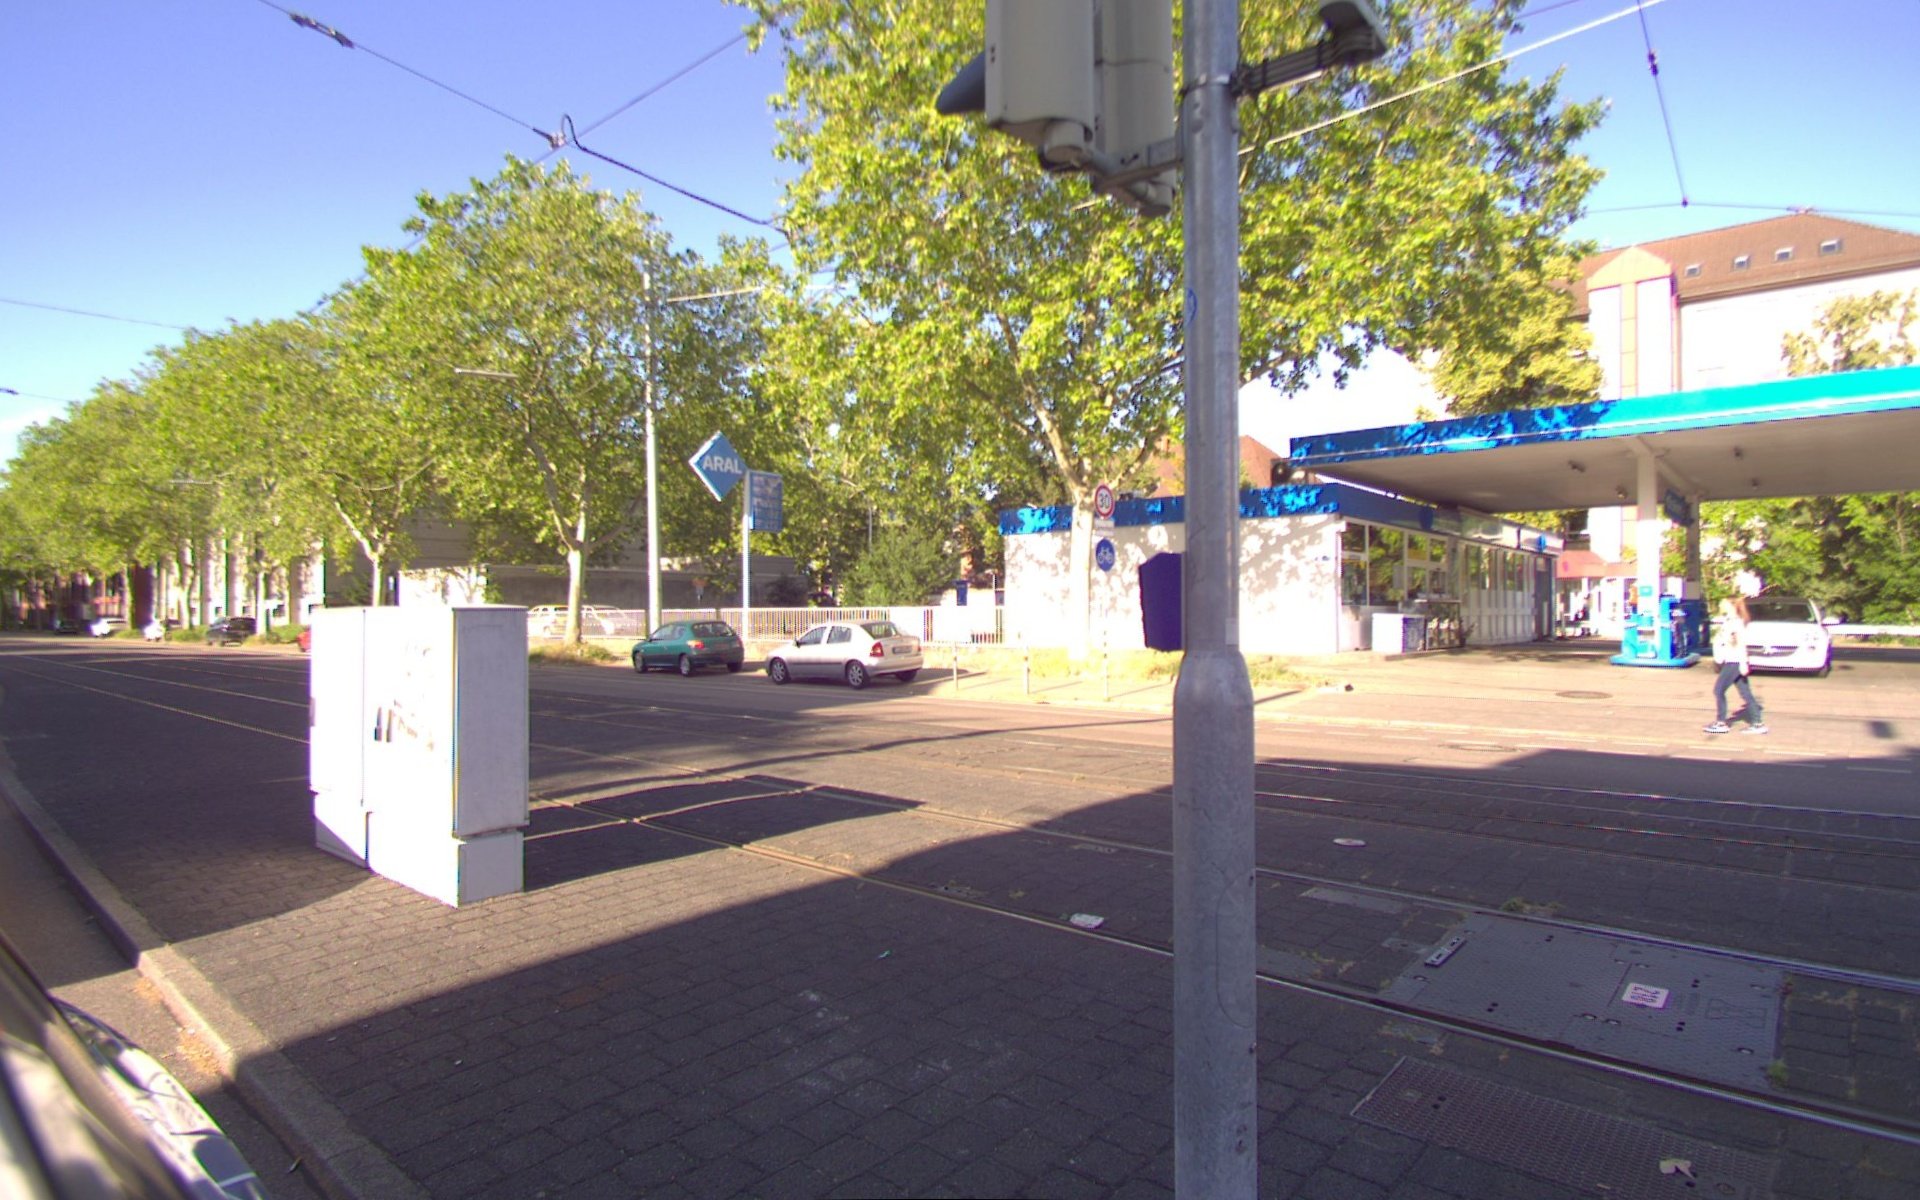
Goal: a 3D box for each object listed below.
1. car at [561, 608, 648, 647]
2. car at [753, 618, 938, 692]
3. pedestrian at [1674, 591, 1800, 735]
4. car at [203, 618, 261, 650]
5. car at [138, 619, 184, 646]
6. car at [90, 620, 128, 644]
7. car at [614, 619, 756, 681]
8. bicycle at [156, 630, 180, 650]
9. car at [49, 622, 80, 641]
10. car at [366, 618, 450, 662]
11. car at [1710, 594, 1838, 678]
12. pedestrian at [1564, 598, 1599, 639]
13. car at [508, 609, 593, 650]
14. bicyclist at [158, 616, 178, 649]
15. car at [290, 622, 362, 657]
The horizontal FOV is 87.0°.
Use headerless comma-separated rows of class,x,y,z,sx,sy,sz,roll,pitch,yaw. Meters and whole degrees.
car,-15.388,1.172,43.763,3.999,1.545,1.822,-1,1,42
car,-2.616,1.178,22.636,3.997,1.418,1.823,-1,1,40
pedestrian,9.297,0.730,12.117,1.106,1.631,0.705,-1,-2,44
car,-40.651,1.887,56.471,4.098,1.628,1.821,-1,1,44
car,-53.835,2.162,68.194,4.098,1.686,1.821,-1,1,44
car,-66.940,2.491,79.566,4.098,1.686,1.821,-1,1,44
car,-7.423,1.276,27.126,4.138,1.418,1.820,-1,1,45
bicycle,-46.135,2.312,58.948,2.532,1.129,0.645,-1,-1,41
car,-85.037,2.950,96.088,4.098,1.686,1.821,-1,1,44
car,-21.959,1.542,40.177,4.002,1.545,1.820,-1,1,45
car,16.021,0.660,19.878,1.780,1.475,3.946,-1,-1,40
pedestrian,28.583,0.863,46.523,1.178,1.842,1.045,-1,-2,41
car,-17.128,1.196,42.271,4.002,1.545,1.820,-1,1,45
bicyclist,-46.143,1.886,58.956,1.070,1.878,0.711,-1,-2,41
car,-28.959,1.775,46.170,4.001,1.418,1.821,-1,1,44
